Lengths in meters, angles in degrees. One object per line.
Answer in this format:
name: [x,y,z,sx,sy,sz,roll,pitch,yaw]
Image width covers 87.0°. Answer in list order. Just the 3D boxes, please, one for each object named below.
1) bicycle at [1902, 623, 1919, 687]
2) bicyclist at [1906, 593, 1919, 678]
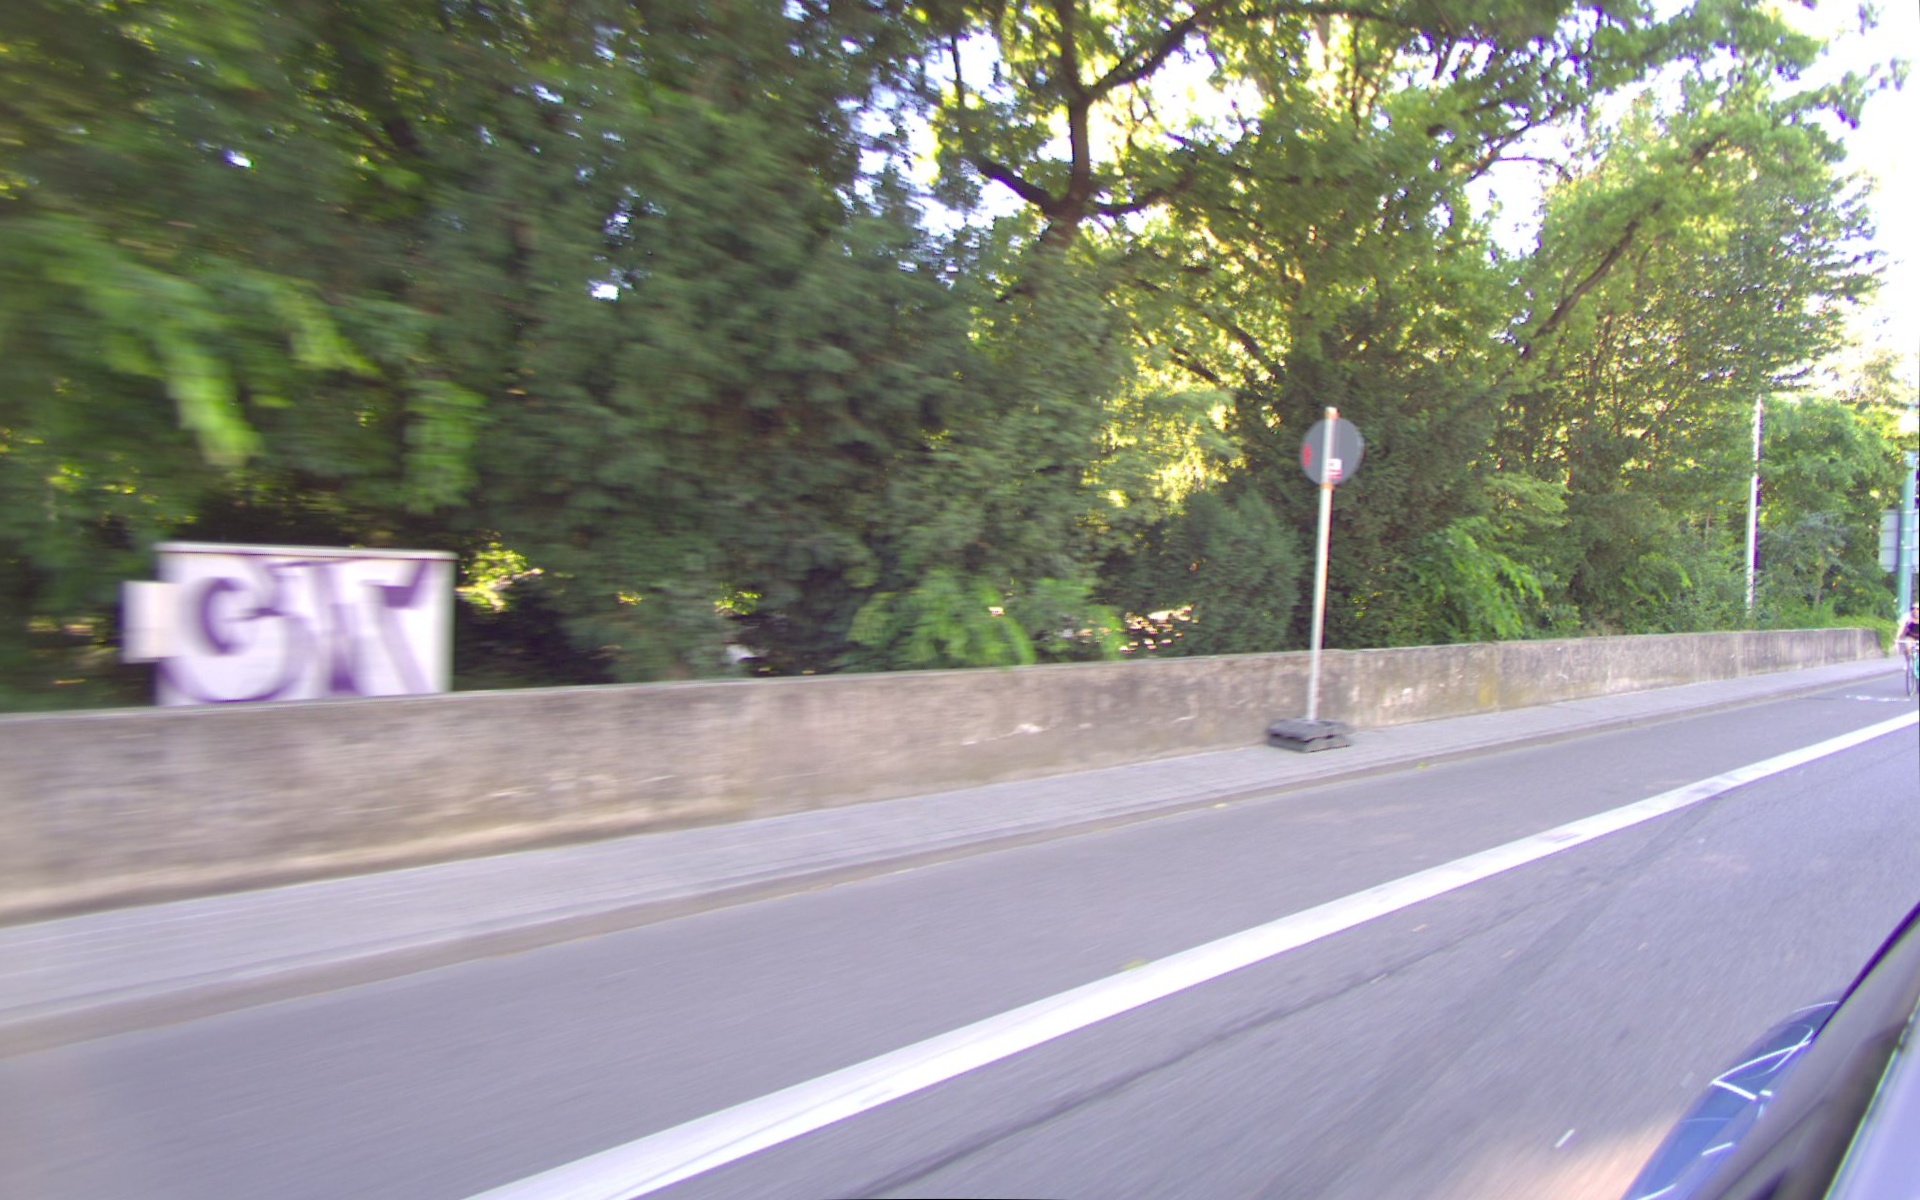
bicycle: [16.496,0.926,17.174,1.478,1.037,0.506,0,2,-38]
bicyclist: [16.508,0.610,17.178,0.791,1.424,0.516,0,1,-39]
